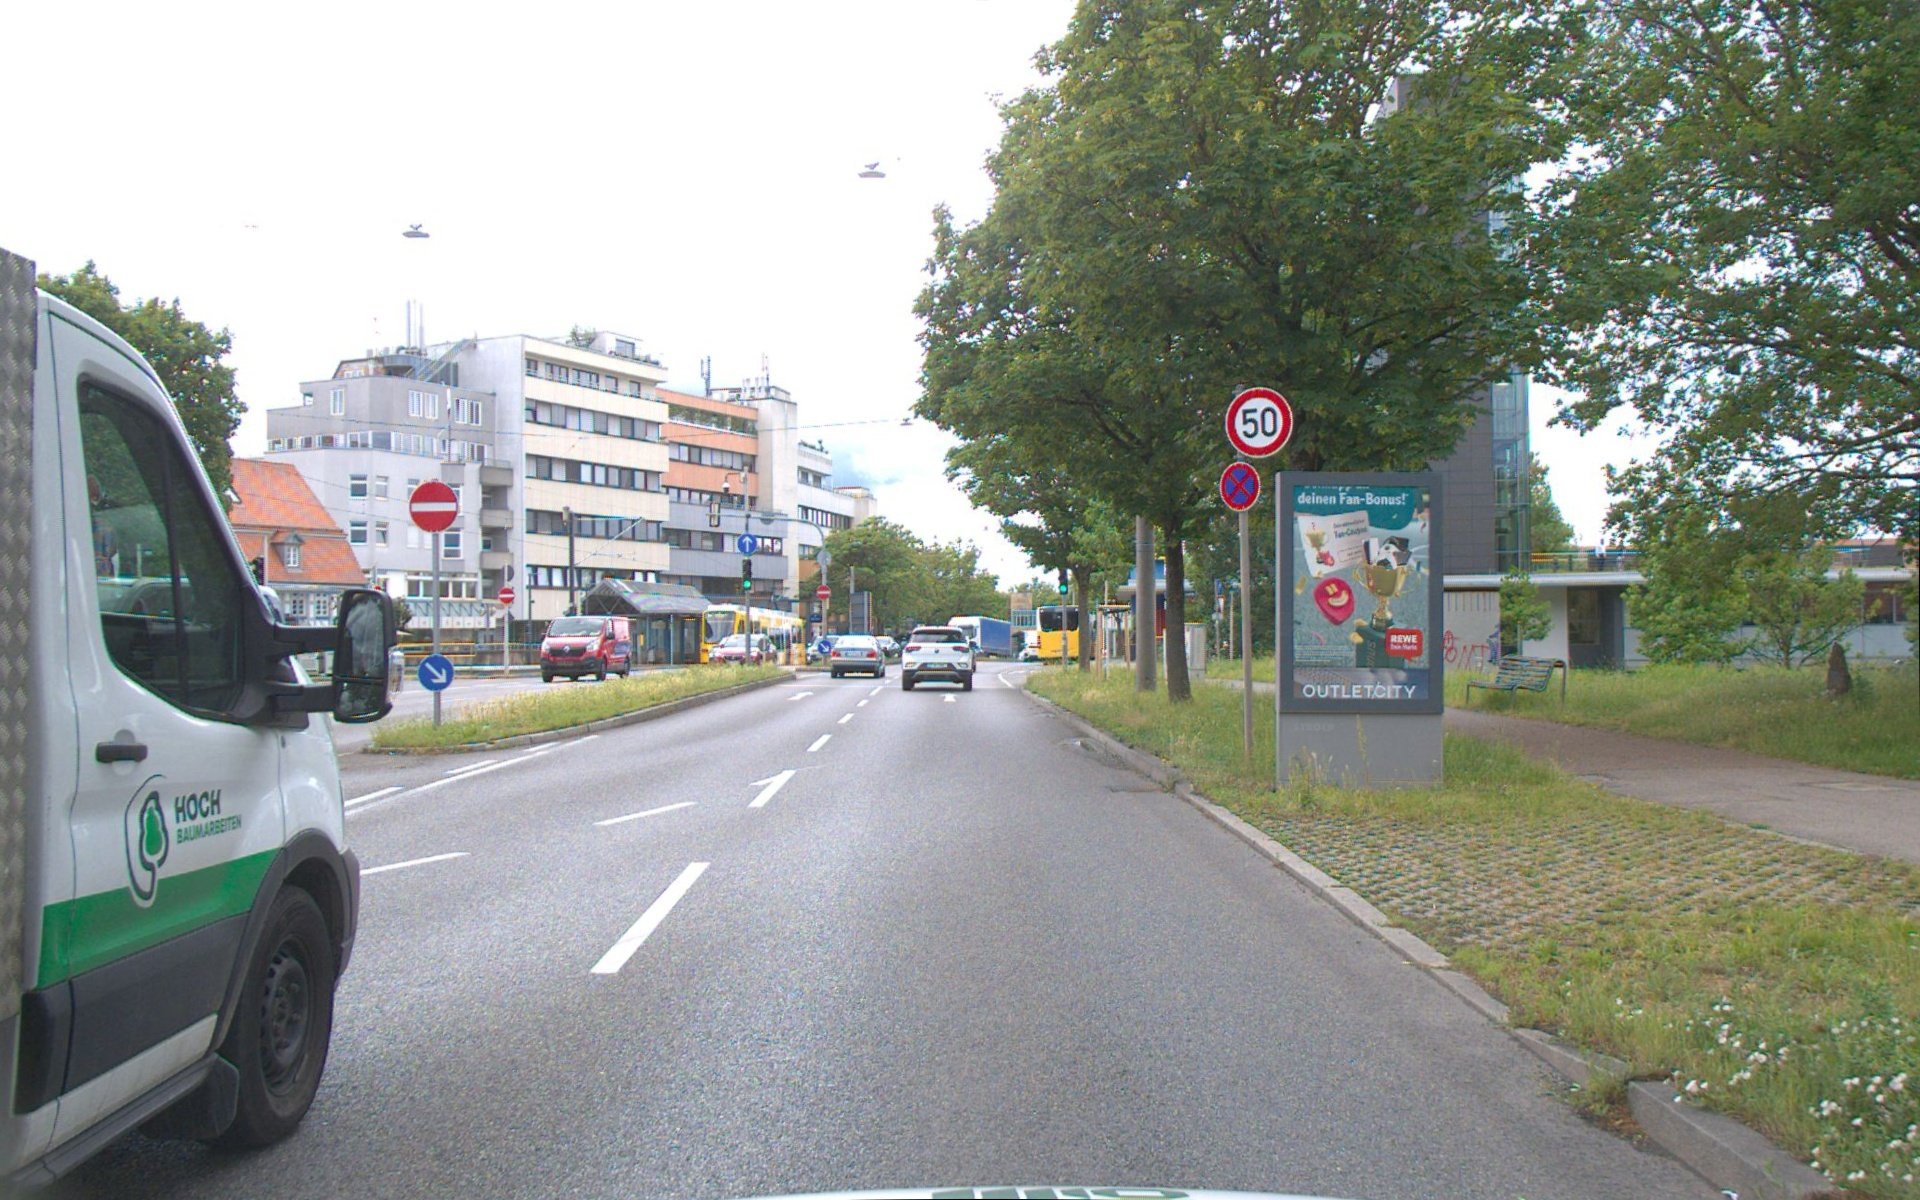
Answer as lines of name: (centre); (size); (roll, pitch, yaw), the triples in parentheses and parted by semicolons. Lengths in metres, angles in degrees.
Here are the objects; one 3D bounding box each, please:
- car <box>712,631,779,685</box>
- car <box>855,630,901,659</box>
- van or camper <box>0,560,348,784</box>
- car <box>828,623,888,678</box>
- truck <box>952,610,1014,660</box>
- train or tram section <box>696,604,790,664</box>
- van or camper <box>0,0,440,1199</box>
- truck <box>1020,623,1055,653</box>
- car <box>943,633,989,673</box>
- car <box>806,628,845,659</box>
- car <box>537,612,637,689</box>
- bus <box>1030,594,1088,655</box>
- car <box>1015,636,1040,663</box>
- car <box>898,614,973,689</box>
car: (-8.156, 2.183, 63.180); (1.953, 1.617, 4.835); (1, 3, -1)
car: (-4.750, 2.588, 96.037); (1.857, 1.646, 4.278); (-1, -2, 9)
van or camper: (-8.239, 0.671, 17.277); (1.888, 1.972, 5.245); (1, -1, -2)
car: (-3.363, 1.646, 55.002); (1.664, 1.542, 3.738); (0, 2, 1)
truck: (2.143, 3.080, 146.215); (2.891, 4.151, 16.614); (0, -1, 10)
train or tram section: (-13.185, 2.127, 101.810); (2.505, 3.471, 13.090); (-1, -2, 7)
van or camper: (-2.738, 0.161, 2.504); (2.297, 2.708, 5.961); (1, 0, -3)
truck: (8.175, 3.982, 173.739); (3.017, 3.081, 9.364); (-1, -1, 6)
car: (0.281, 2.173, 68.271); (1.664, 1.542, 3.495); (0, 0, 4)
car: (-6.465, 2.115, 79.517); (1.581, 1.471, 3.652); (-1, -2, 0)
car: (-11.373, 1.492, 50.754); (1.953, 2.048, 4.834); (1, 2, -1)
bus: (5.468, 1.387, 92.999); (2.893, 3.246, 9.929); (0, -1, 1)
car: (4.731, 3.461, 115.615); (1.733, 1.598, 4.287); (0, 2, 3)
car: (-0.582, 1.270, 41.821); (1.665, 1.575, 3.737); (3, 2, 1)
